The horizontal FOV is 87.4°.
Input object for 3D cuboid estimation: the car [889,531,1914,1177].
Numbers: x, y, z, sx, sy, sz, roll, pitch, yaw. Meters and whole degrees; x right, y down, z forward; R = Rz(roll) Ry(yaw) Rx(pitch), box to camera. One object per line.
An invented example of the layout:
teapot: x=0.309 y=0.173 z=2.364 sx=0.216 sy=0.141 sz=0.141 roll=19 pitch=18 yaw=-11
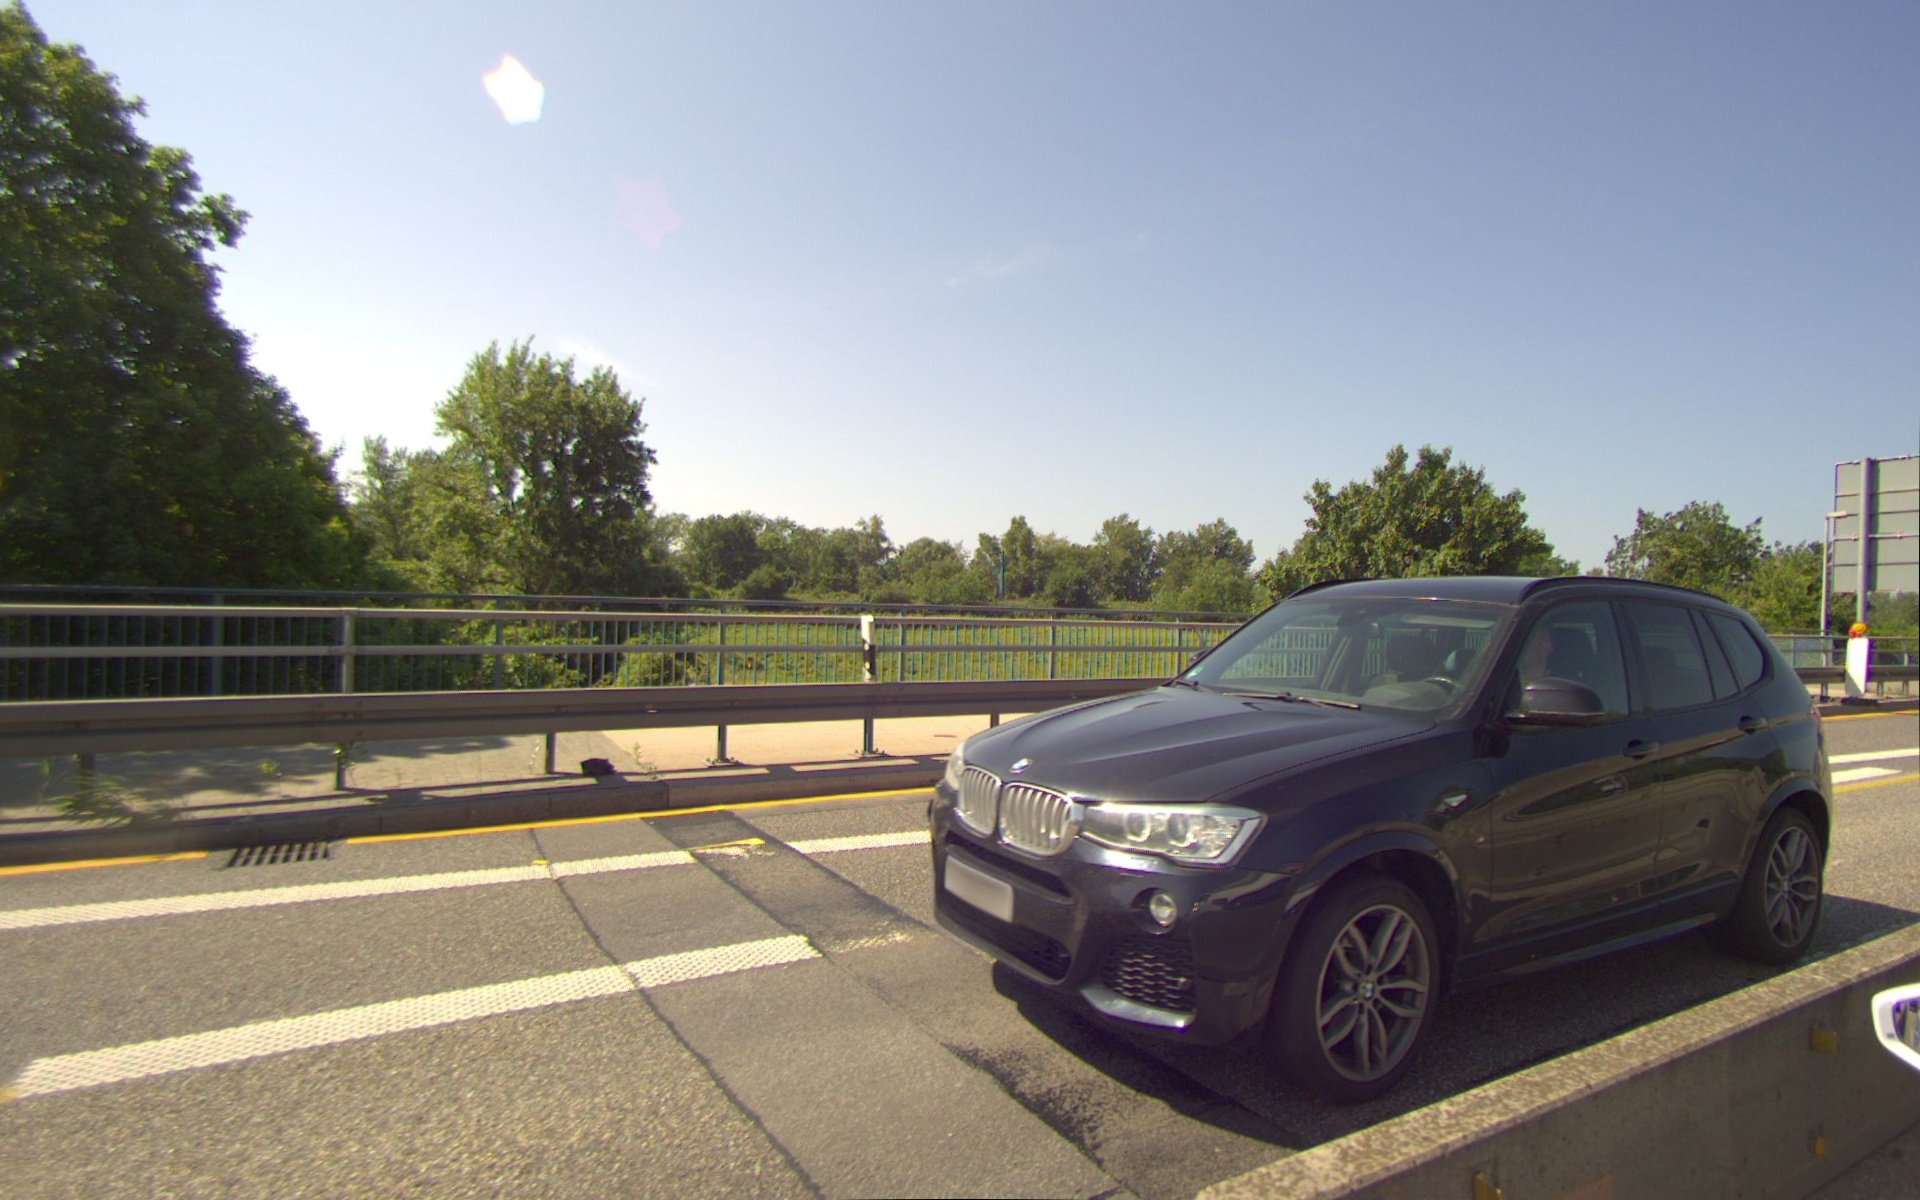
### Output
car: x=2.121 y=0.695 z=4.493 sx=4.510 sy=1.654 sz=1.855 roll=1 pitch=0 yaw=-29
